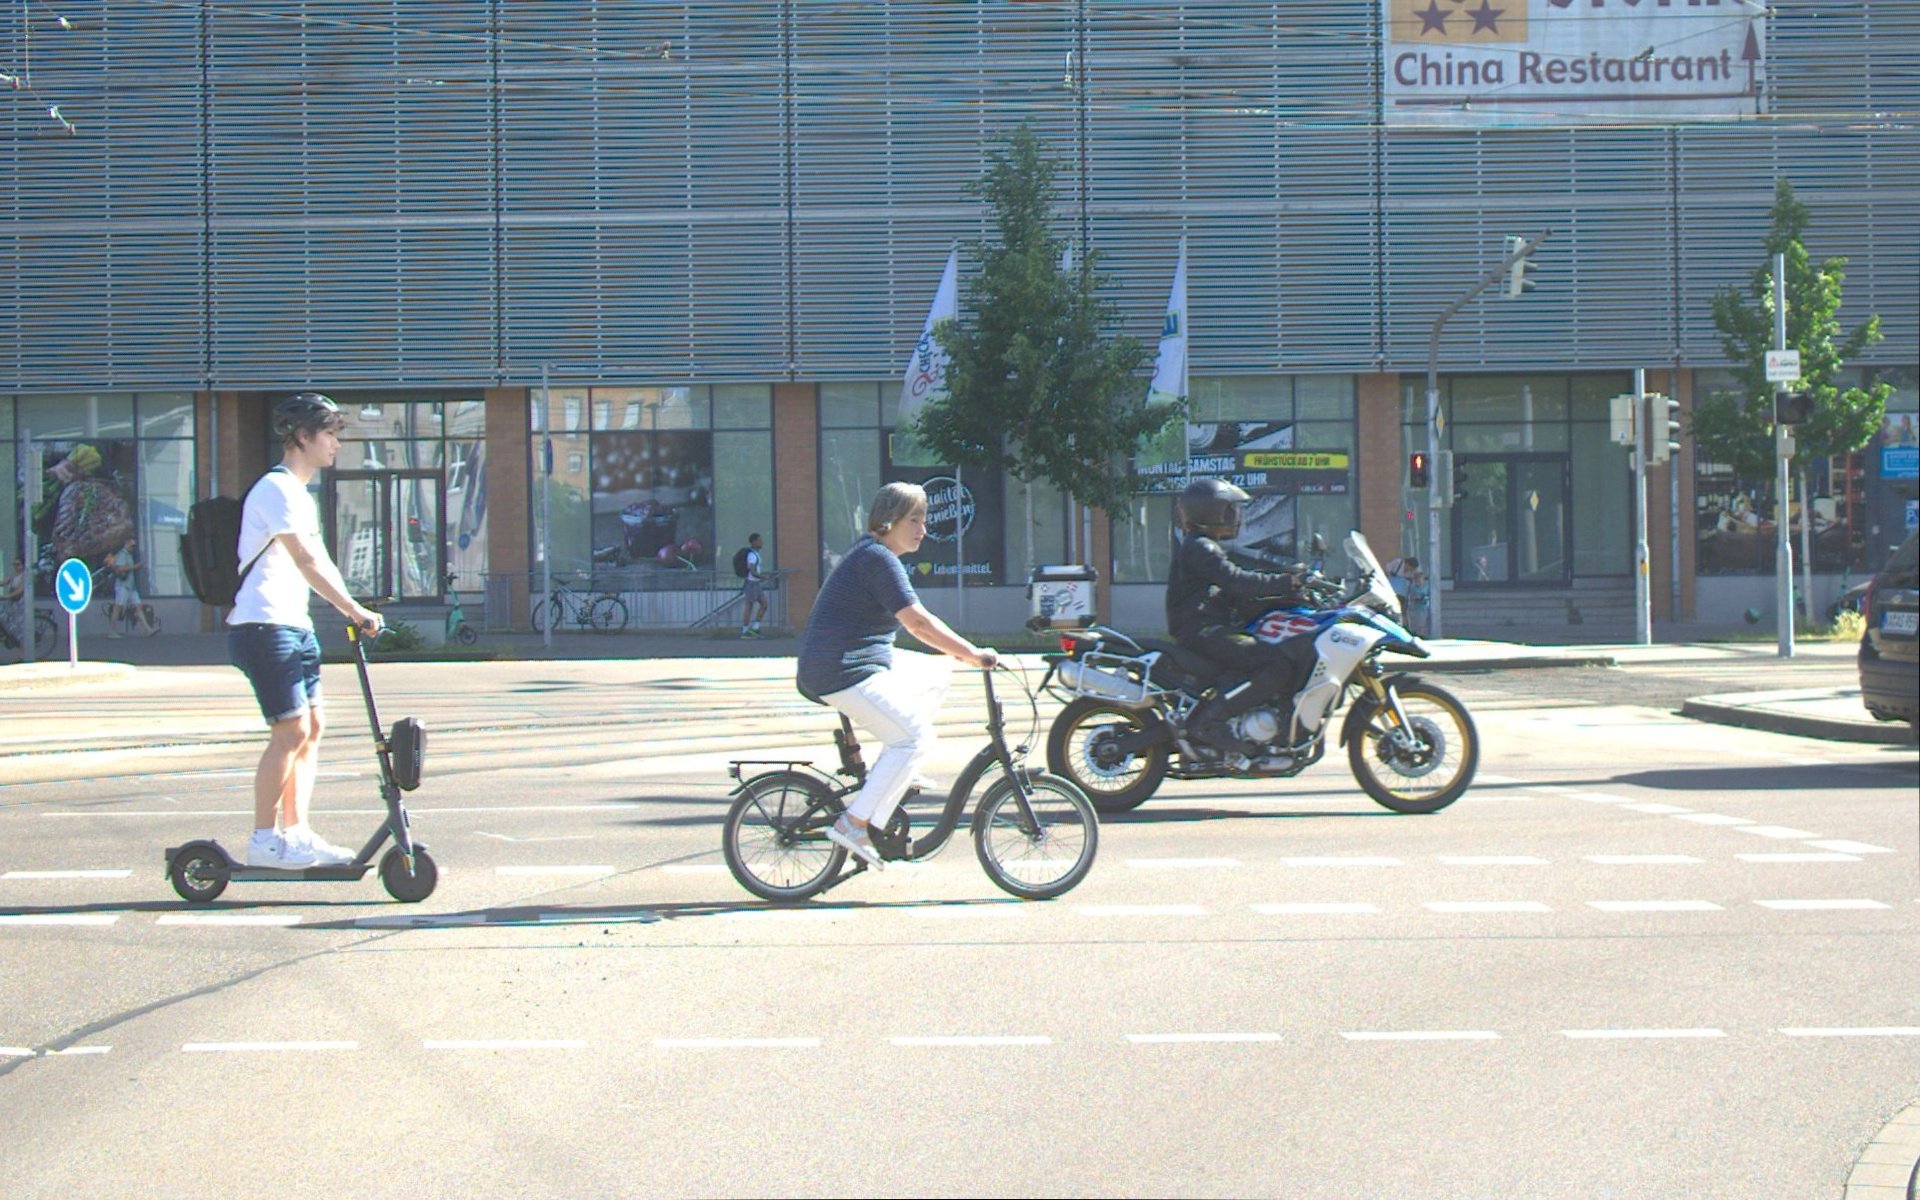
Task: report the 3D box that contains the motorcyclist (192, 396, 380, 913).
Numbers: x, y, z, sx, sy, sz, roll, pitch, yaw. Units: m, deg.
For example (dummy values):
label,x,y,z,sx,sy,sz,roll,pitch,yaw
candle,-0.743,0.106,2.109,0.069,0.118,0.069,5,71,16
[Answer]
label,x,y,z,sx,sy,sz,roll,pitch,yaw
motorcyclist,-2.666,0.210,13.632,0.628,2.007,0.497,-1,1,0

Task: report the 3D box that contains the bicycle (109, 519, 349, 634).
label,x,y,z,sx,sy,sz,roll,pitch,yaw
bicycle,-12.955,-0.423,61.031,3.987,2.007,1.330,0,1,0

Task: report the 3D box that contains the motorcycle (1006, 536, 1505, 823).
label,x,y,z,sx,sy,sz,roll,pitch,yaw
motorcycle,1.485,0.393,17.613,2.442,1.414,0.915,1,1,-2

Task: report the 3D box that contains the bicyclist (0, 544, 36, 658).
label,x,y,z,sx,sy,sz,roll,pitch,yaw
bicyclist,-15.302,0.008,54.732,0.843,1.797,0.816,-1,1,-42

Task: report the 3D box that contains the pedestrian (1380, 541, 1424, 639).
label,x,y,z,sx,sy,sz,roll,pitch,yaw
pedestrian,6.999,-0.164,54.455,0.589,1.529,0.658,-1,1,-1

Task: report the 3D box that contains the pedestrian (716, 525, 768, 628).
label,x,y,z,sx,sy,sz,roll,pitch,yaw
pedestrian,-3.778,-0.410,59.543,0.848,1.757,0.620,-1,1,-1

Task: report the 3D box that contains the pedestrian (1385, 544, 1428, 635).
label,x,y,z,sx,sy,sz,roll,pitch,yaw
pedestrian,7.160,-0.173,55.174,0.589,1.457,0.658,-1,1,-1

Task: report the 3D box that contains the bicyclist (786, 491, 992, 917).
label,x,y,z,sx,sy,sz,roll,pitch,yaw
bicyclist,-0.289,0.398,13.654,0.782,1.643,0.690,-1,1,-2

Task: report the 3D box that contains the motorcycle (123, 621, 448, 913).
label,x,y,z,sx,sy,sz,roll,pitch,yaw
motorcycle,-2.659,0.651,13.617,1.186,1.117,0.483,-1,1,-1

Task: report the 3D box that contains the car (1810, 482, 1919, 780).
label,x,y,z,sx,sy,sz,roll,pitch,yaw
car,7.707,0.144,20.758,4.634,1.712,1.840,0,2,-8

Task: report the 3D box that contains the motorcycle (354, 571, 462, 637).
label,x,y,z,sx,sy,sz,roll,pitch,yaw
motorcycle,-8.983,0.060,55.999,1.652,1.055,0.497,-1,1,9

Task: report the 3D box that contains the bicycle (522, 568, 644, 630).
label,x,y,z,sx,sy,sz,roll,pitch,yaw
bicycle,-6.655,-0.022,60.716,2.026,1.055,1.145,-1,1,-1

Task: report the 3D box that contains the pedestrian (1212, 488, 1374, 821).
label,x,y,z,sx,sy,sz,roll,pitch,yaw
pedestrian,1.702,0.270,17.631,0.744,1.671,0.665,-1,1,-1

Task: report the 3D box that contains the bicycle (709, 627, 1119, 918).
label,x,y,z,sx,sy,sz,roll,pitch,yaw
bicycle,-0.191,0.668,13.601,1.576,1.103,0.734,0,1,-2

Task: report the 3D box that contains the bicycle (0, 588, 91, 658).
label,x,y,z,sx,sy,sz,roll,pitch,yaw
bicycle,-15.162,0.365,54.890,2.238,1.067,1.046,-1,1,-41
